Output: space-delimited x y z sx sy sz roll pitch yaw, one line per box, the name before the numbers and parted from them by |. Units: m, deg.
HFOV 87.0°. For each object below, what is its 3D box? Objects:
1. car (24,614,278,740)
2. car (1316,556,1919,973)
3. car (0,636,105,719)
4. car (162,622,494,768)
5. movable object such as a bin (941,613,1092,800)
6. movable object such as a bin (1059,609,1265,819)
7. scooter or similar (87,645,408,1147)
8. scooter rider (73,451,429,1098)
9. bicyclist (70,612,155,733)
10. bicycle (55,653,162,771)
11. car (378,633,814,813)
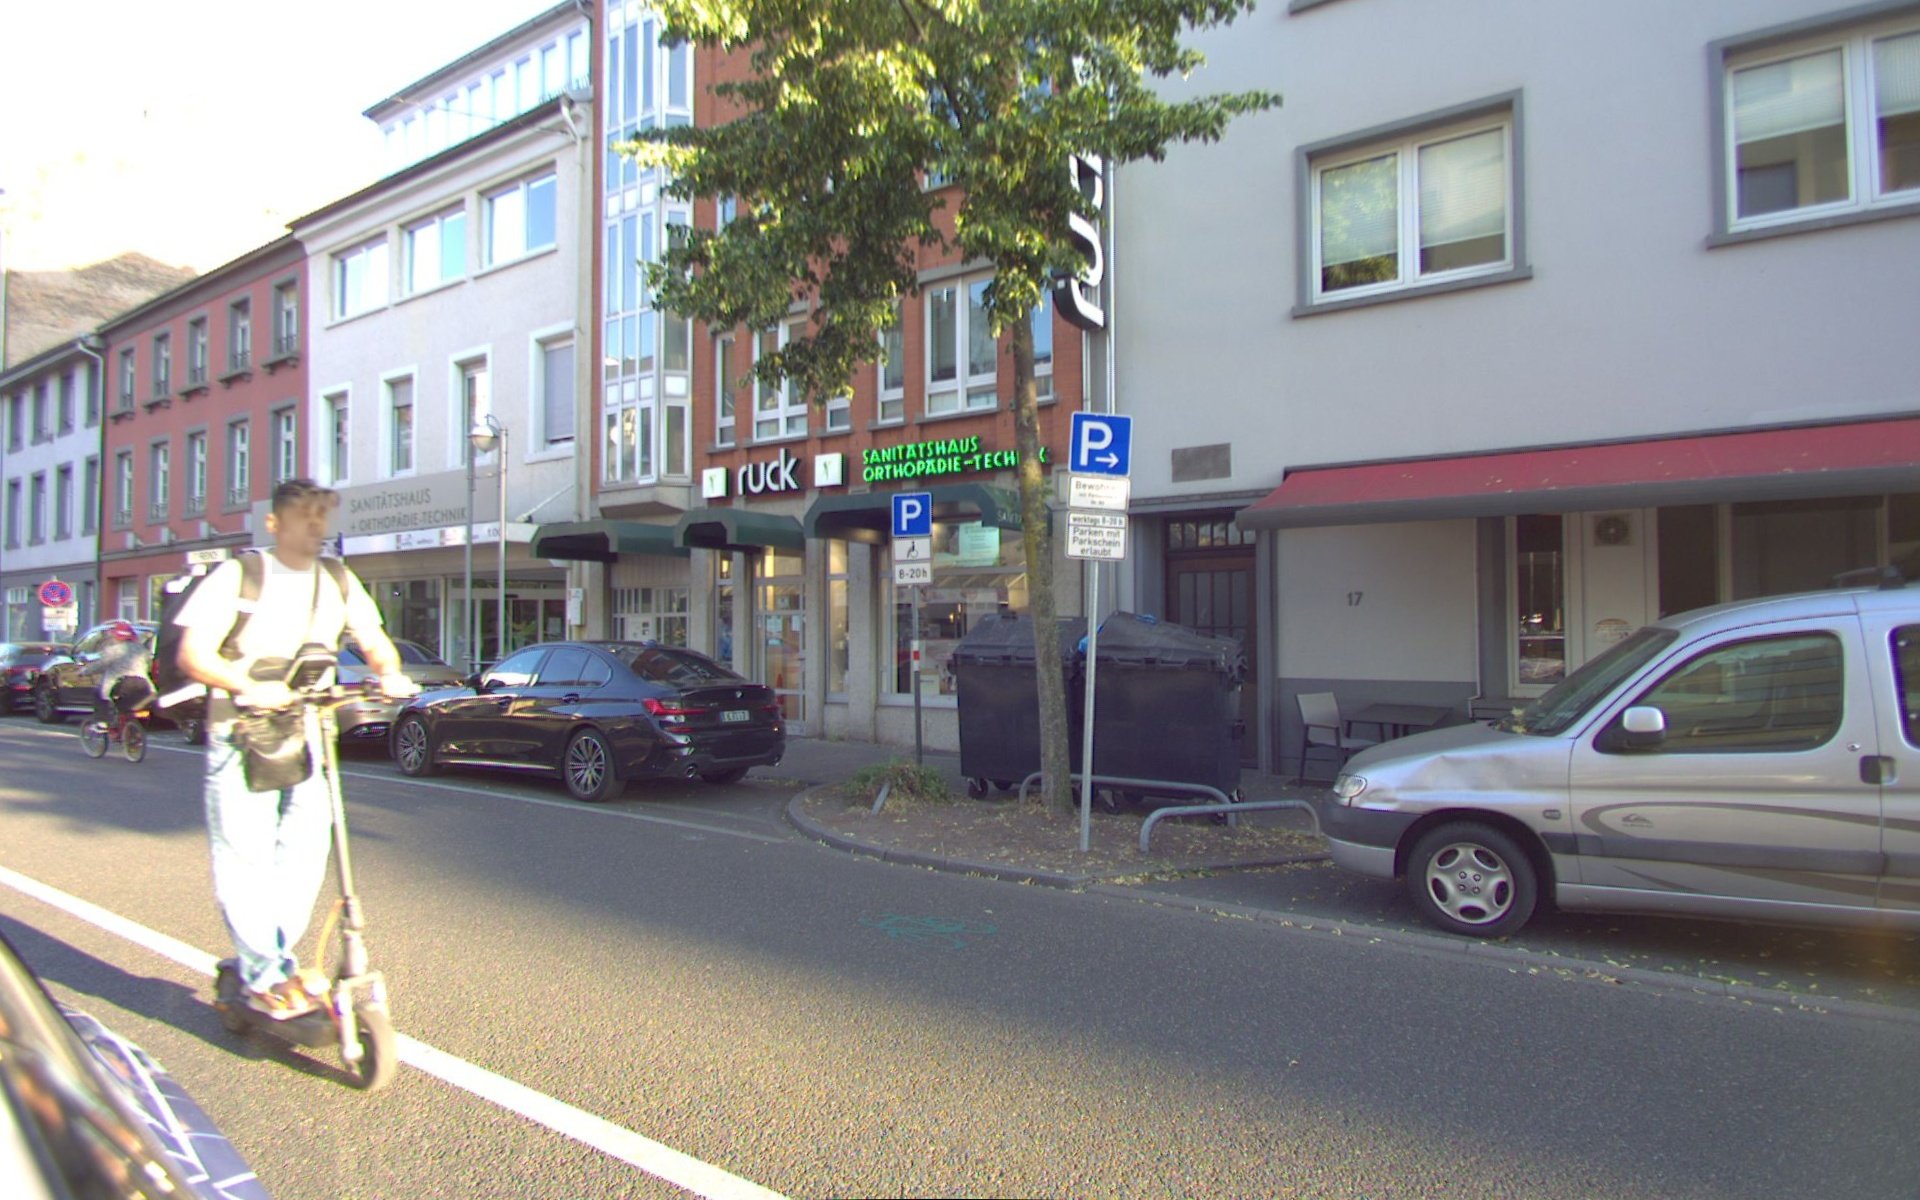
car | -13.975 1.259 17.407 4.932 1.898 1.952 -2 -3 33
car | 3.990 0.660 4.982 3.984 1.676 1.703 -1 0 30
car | -19.182 1.523 20.571 3.831 1.536 1.718 -2 -2 33
car | -8.427 1.147 13.340 4.931 1.612 1.875 -2 -3 34
movable object such as a bin | 0.504 0.906 9.037 1.097 1.547 0.740 -2 -1 33
movable object such as a bin | 1.646 0.864 8.294 1.480 1.555 0.745 -1 0 33
scooter or similar | -2.544 0.843 3.542 1.668 1.361 0.538 -2 -2 41
scooter rider | -2.385 0.491 3.418 0.787 1.821 0.803 -1 0 40
bicyclist | -9.669 0.805 11.551 0.658 1.312 0.563 -1 0 32
bicycle | -9.832 1.254 11.669 1.688 1.246 0.416 -1 0 31
car | -3.726 1.058 10.128 4.403 1.403 1.786 -1 -1 32
